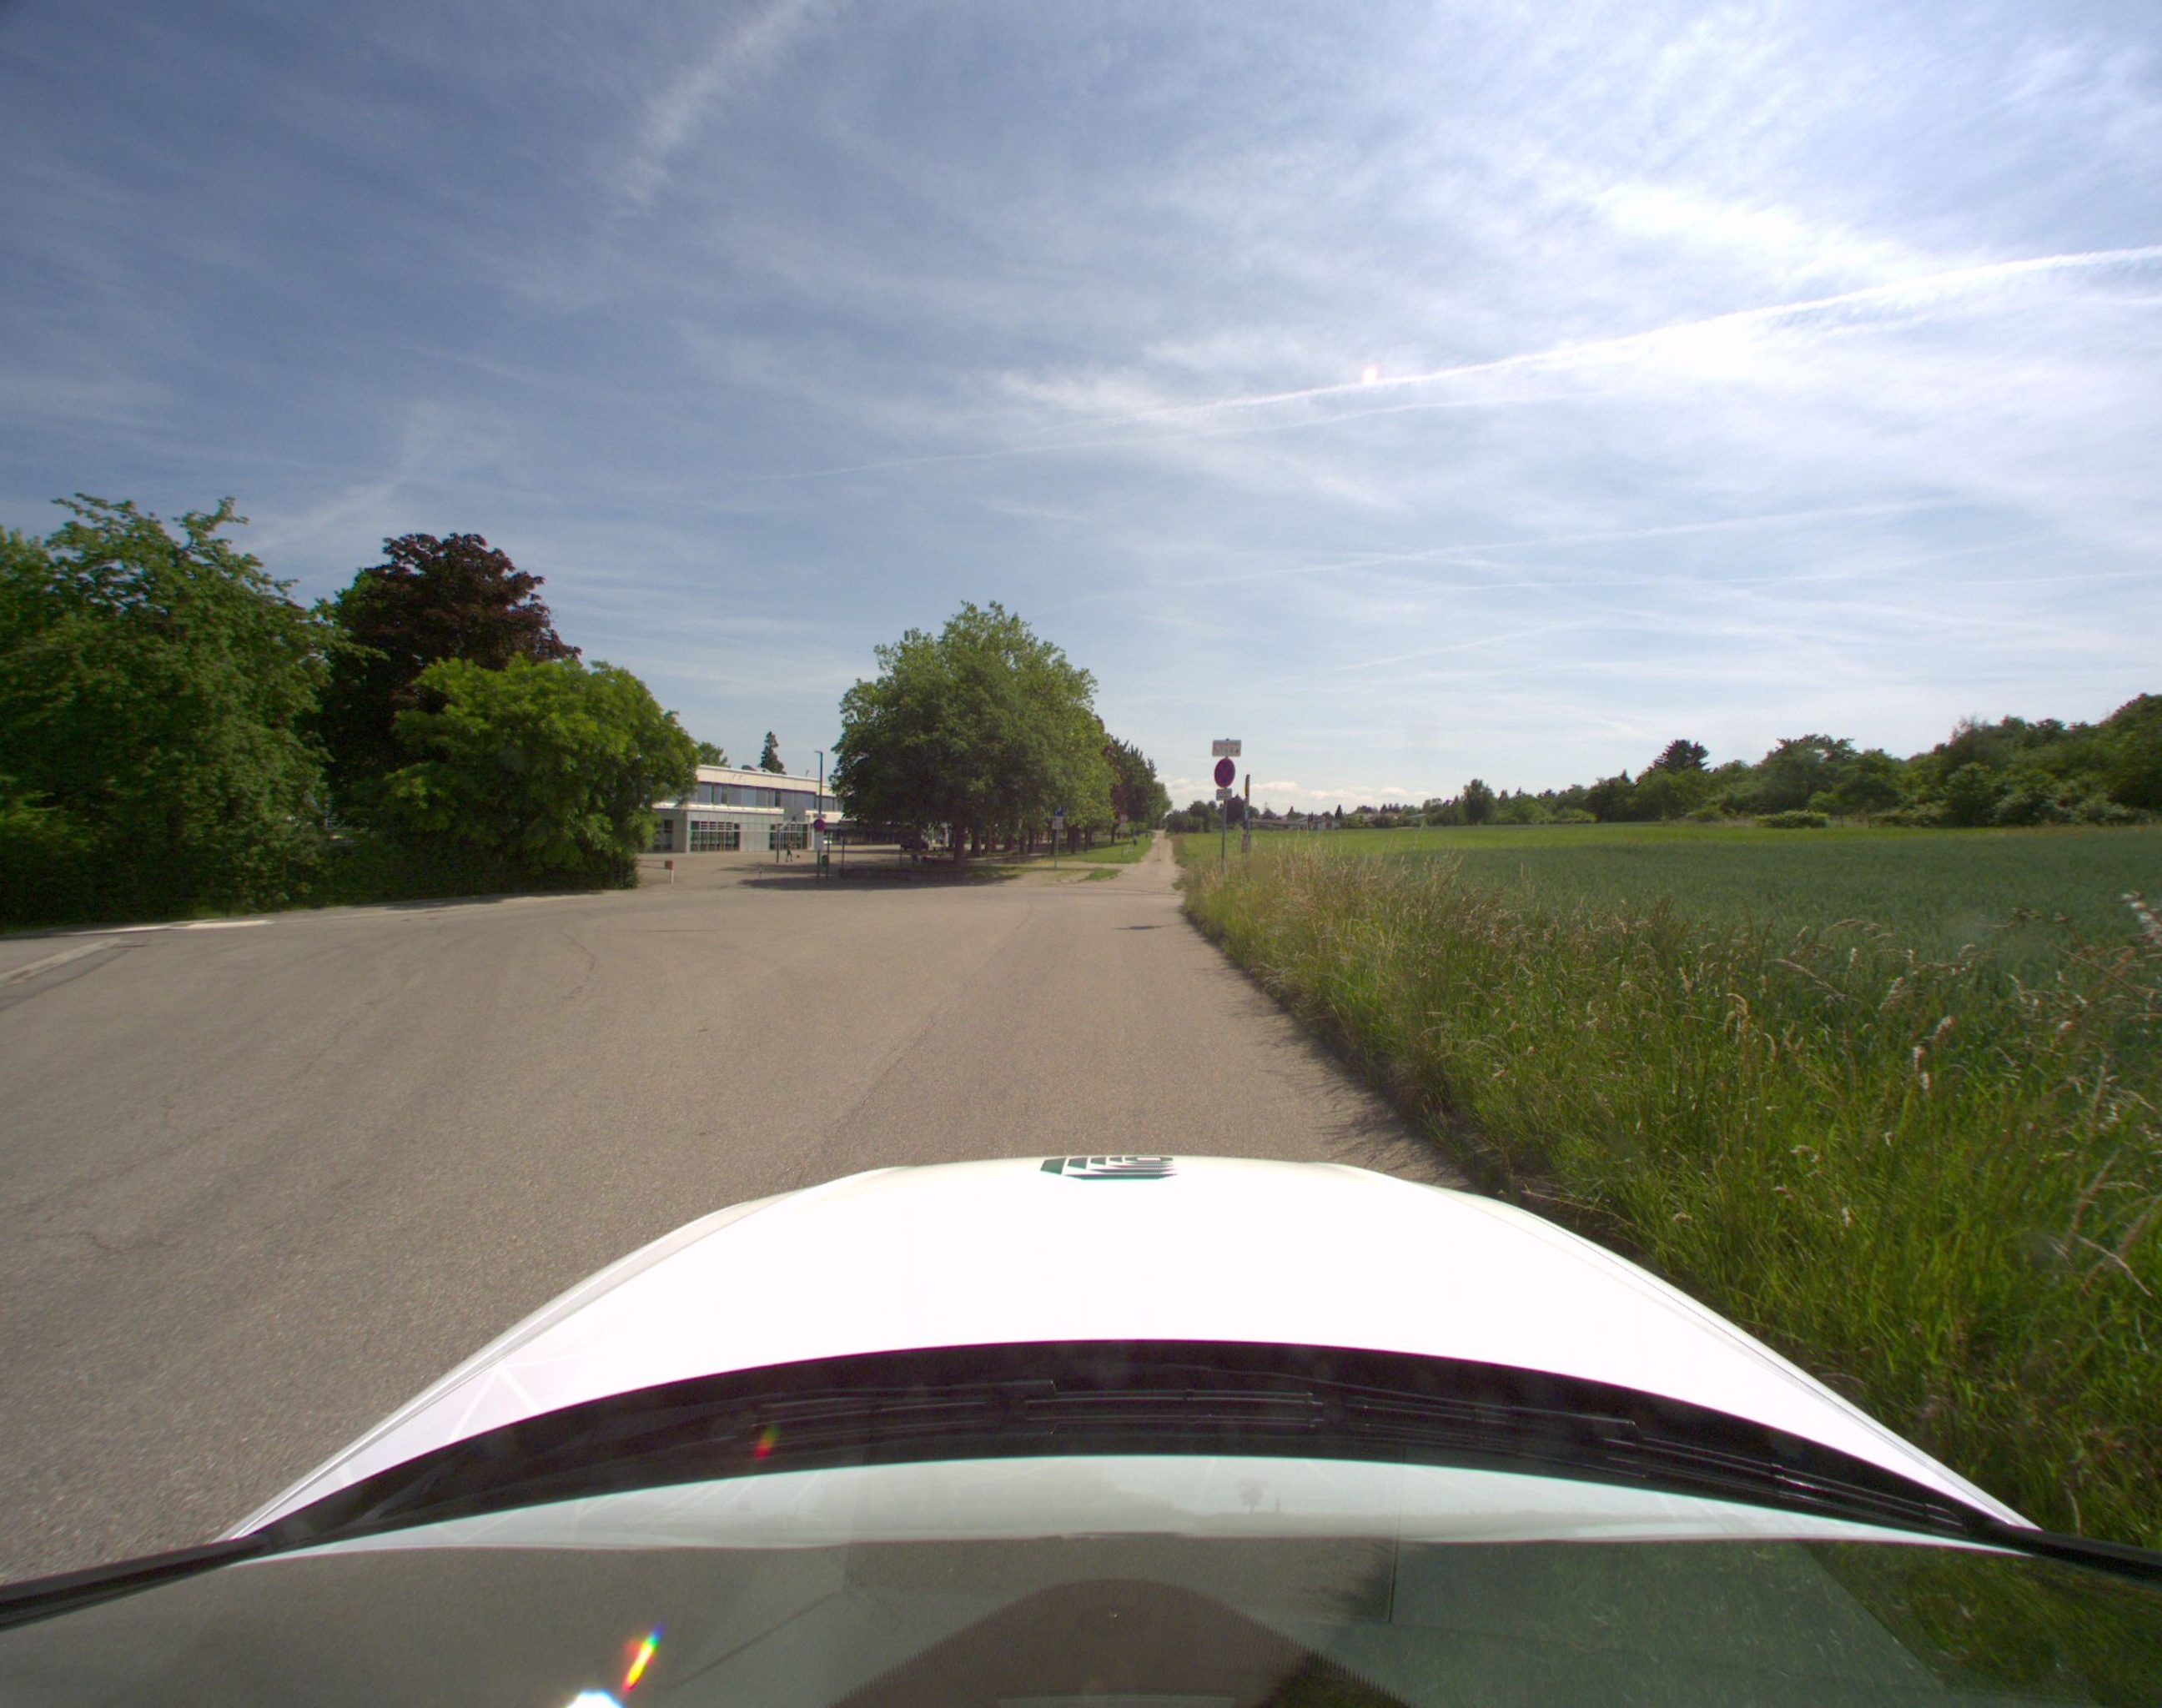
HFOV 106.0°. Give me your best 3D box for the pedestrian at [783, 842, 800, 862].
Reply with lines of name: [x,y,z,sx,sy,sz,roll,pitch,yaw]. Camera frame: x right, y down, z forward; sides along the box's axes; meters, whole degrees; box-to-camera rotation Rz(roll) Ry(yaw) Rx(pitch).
pedestrian: [-20.597,-0.149,57.966,1.070,1.423,0.913,1,0,-23]

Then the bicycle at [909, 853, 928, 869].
bicycle: [-10.965,0.474,55.035,0.590,1.039,1.899,0,1,12]

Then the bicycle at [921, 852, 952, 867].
bicycle: [-10.101,0.405,57.098,2.057,1.039,0.571,0,1,-4]

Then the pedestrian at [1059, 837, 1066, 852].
pedestrian: [-2.576,-1.293,113.555,0.686,2.013,0.796,1,0,-28]

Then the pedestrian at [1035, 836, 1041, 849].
pedestrian: [-6.483,-1.757,122.348,0.833,2.013,0.689,1,0,-11]

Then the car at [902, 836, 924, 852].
car: [-19.487,-1.153,94.581,1.684,1.834,3.414,1,1,3]
